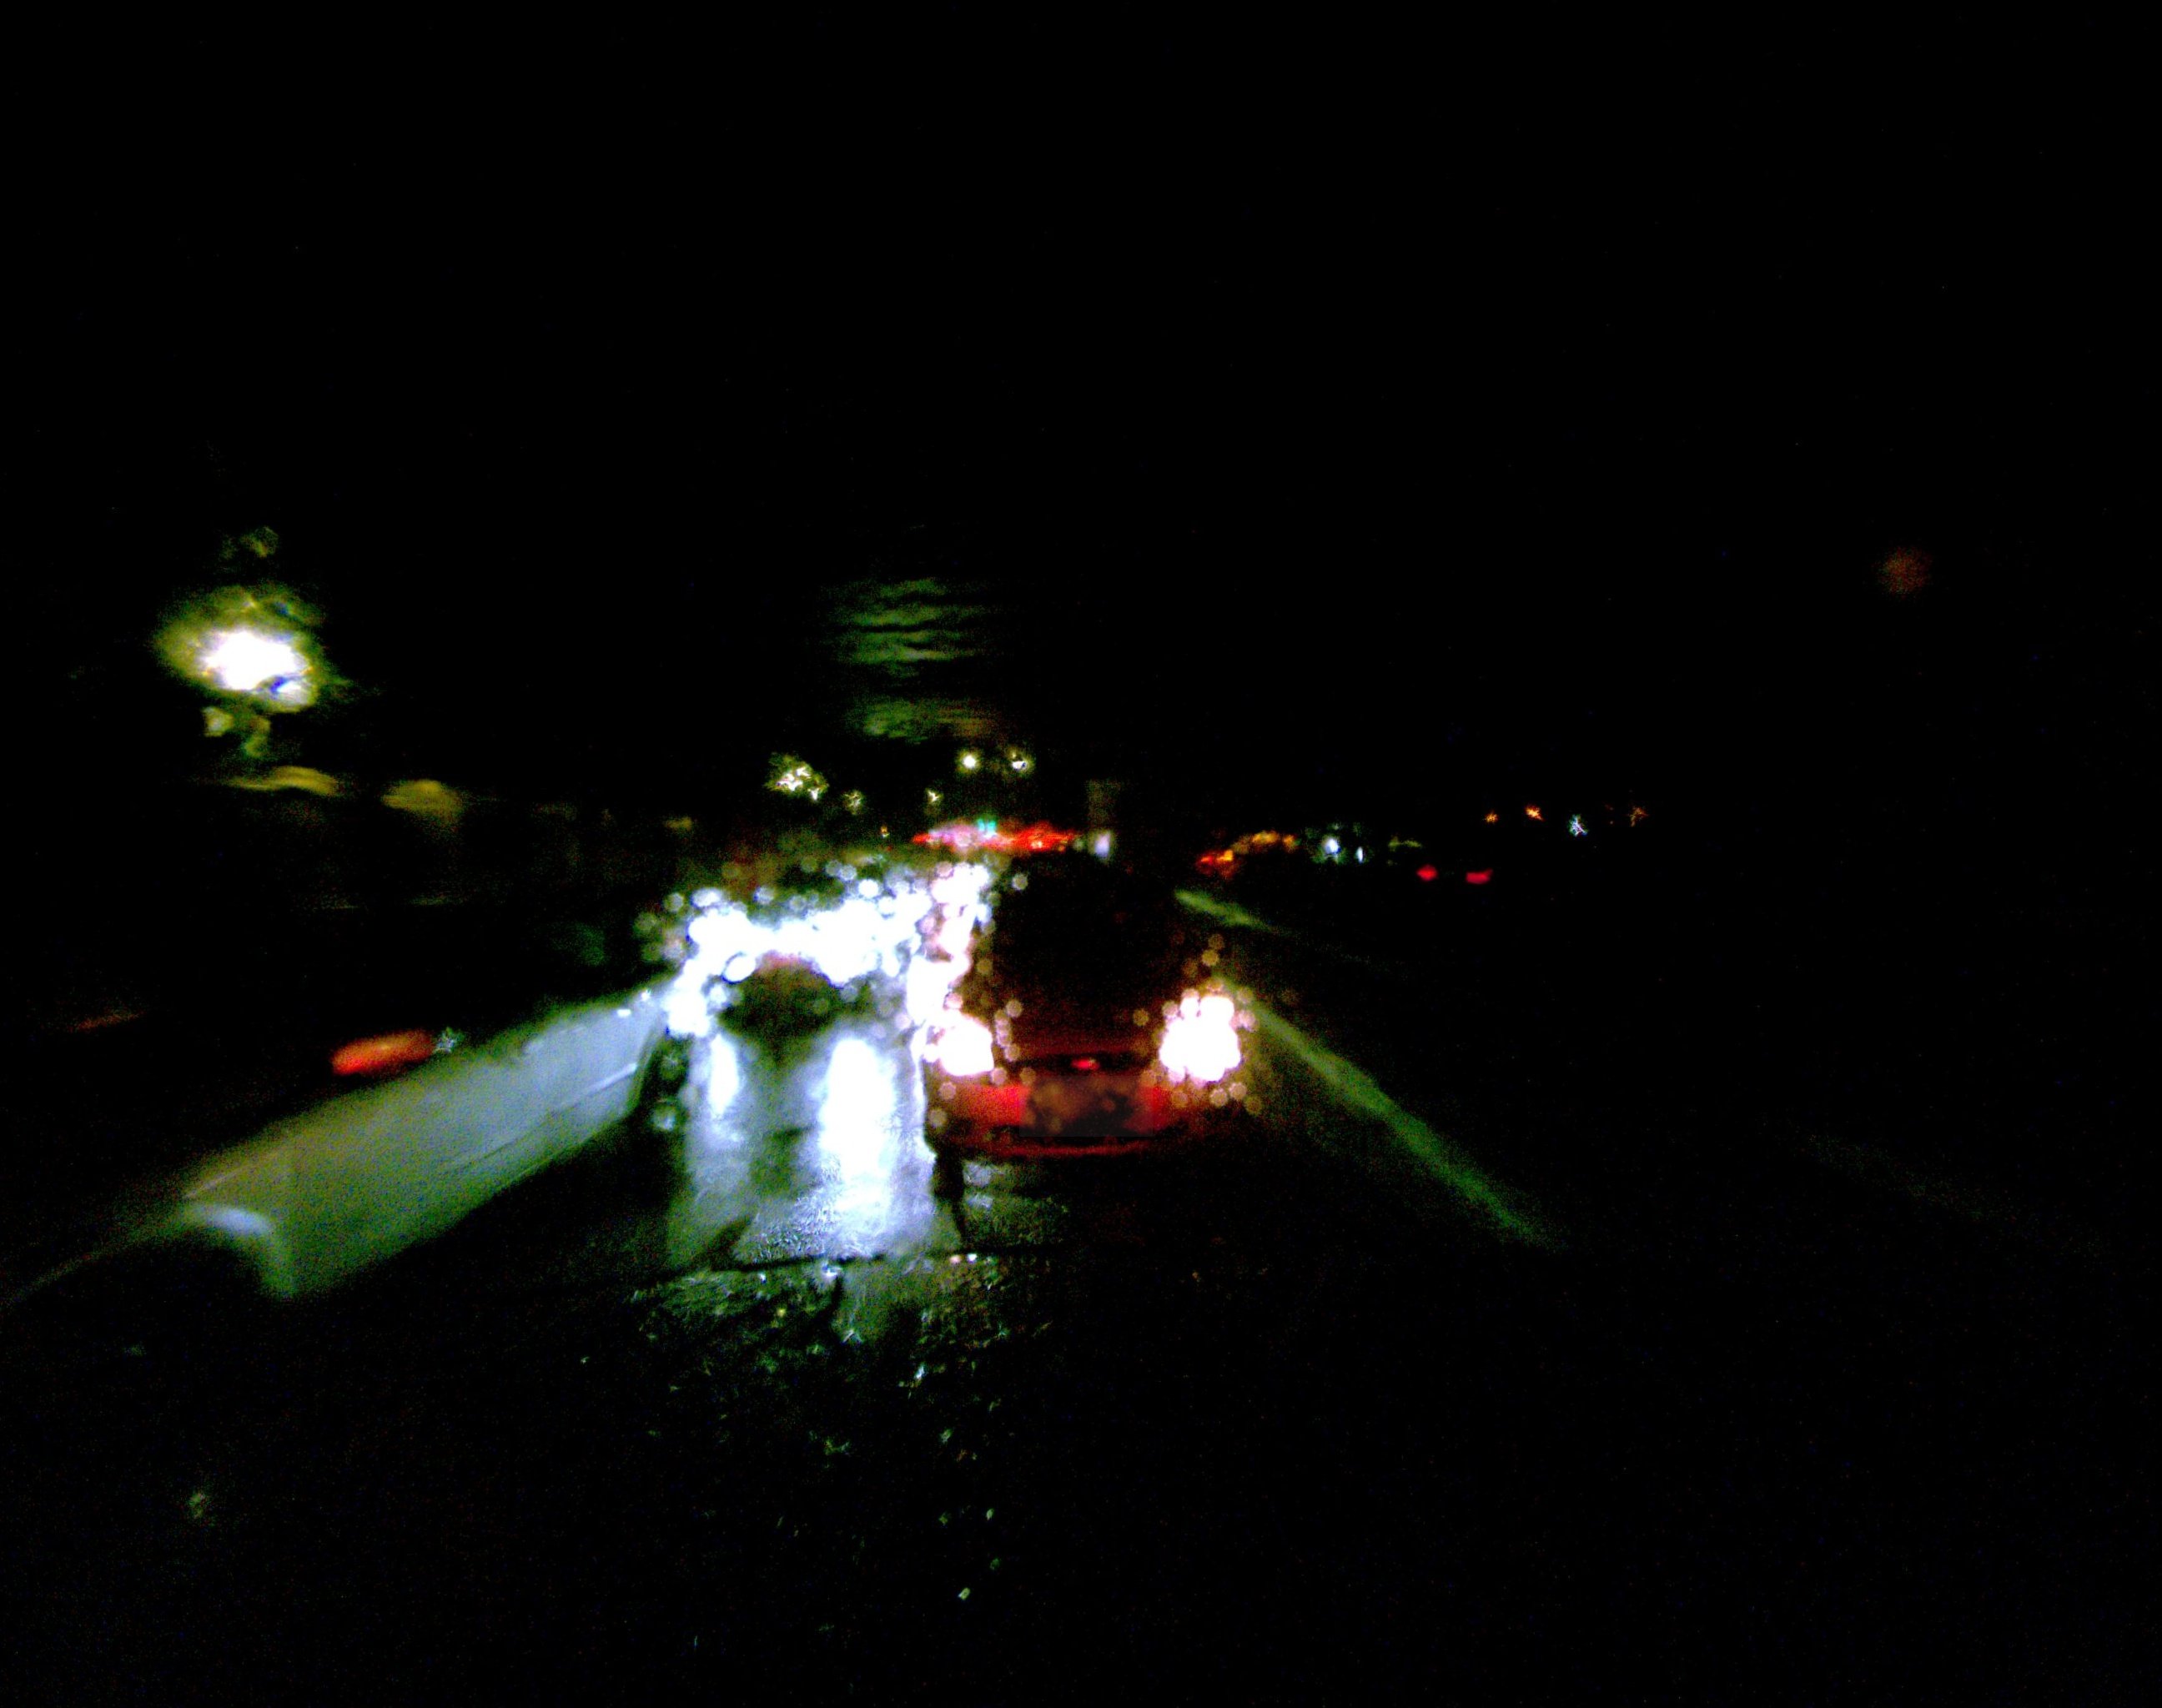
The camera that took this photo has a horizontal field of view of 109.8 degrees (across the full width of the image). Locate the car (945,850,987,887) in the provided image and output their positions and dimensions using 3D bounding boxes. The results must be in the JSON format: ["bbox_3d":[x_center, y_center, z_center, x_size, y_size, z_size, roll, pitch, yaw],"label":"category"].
[{"bbox_3d":[-5.387,0.654,36.063,1.743,1.581,3.997,-2,1,-6],"label":"car"}]

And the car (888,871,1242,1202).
[{"bbox_3d":[-0.048,0.904,5.525,1.603,1.360,3.942,-2,1,1],"label":"car"}]

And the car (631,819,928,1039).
[{"bbox_3d":[-3.372,0.707,9.594,1.999,2.076,4.347,-2,1,-1],"label":"car"}]

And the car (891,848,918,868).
[{"bbox_3d":[-13.169,0.282,56.865,1.854,1.447,4.497,-1,0,-12],"label":"car"}]

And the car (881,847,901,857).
[{"bbox_3d":[-30.161,-0.317,120.521,2.003,1.596,3.990,-3,1,-31],"label":"car"}]

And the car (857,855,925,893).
[{"bbox_3d":[-8.553,0.851,34.583,1.842,1.469,4.628,-2,1,0],"label":"car"}]

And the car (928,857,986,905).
[{"bbox_3d":[-4.388,0.899,27.294,1.683,1.463,3.998,-2,1,-5],"label":"car"}]

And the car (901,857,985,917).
[{"bbox_3d":[-3.922,0.886,22.189,1.629,1.494,3.999,-2,1,1],"label":"car"}]

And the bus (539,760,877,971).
[{"bbox_3d":[-6.949,0.185,16.405,2.776,3.105,9.759,-2,0,-3],"label":"bus"}]

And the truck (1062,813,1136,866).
[{"bbox_3d":[1.402,-1.172,64.369,3.973,4.152,6.365,-3,1,-22],"label":"truck"}]

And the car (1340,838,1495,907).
[{"bbox_3d":[9.750,0.464,22.536,1.971,1.731,4.915,-2,1,-6],"label":"car"}]

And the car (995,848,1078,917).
[{"bbox_3d":[-1.112,0.641,19.720,1.881,1.534,3.999,-2,1,-2],"label":"car"}]

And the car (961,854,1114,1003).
[{"bbox_3d":[-0.468,0.847,10.635,1.683,1.591,3.996,-2,1,1],"label":"car"}]

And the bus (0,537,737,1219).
[{"bbox_3d":[-6.466,0.149,6.660,2.776,3.105,9.759,-2,0,-3],"label":"bus"}]

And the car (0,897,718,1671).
[{"bbox_3d":[-3.187,1.036,2.698,1.792,1.359,3.999,-2,2,0],"label":"car"}]

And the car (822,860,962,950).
[{"bbox_3d":[-3.742,0.939,15.757,1.869,1.503,3.766,-2,1,1],"label":"car"}]

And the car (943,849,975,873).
[{"bbox_3d":[-8.039,0.425,49.903,1.883,1.463,3.996,-2,1,-11],"label":"car"}]

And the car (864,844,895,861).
[{"bbox_3d":[-19.028,-0.182,71.680,1.856,1.423,4.491,-3,2,-27],"label":"car"}]

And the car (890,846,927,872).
[{"bbox_3d":[-10.784,0.313,47.632,1.854,1.476,4.626,-1,0,-8],"label":"car"}]

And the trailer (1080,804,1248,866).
[{"bbox_3d":[5.955,-1.283,58.635,3.977,4.152,13.883,-3,1,-39],"label":"trailer"}]
